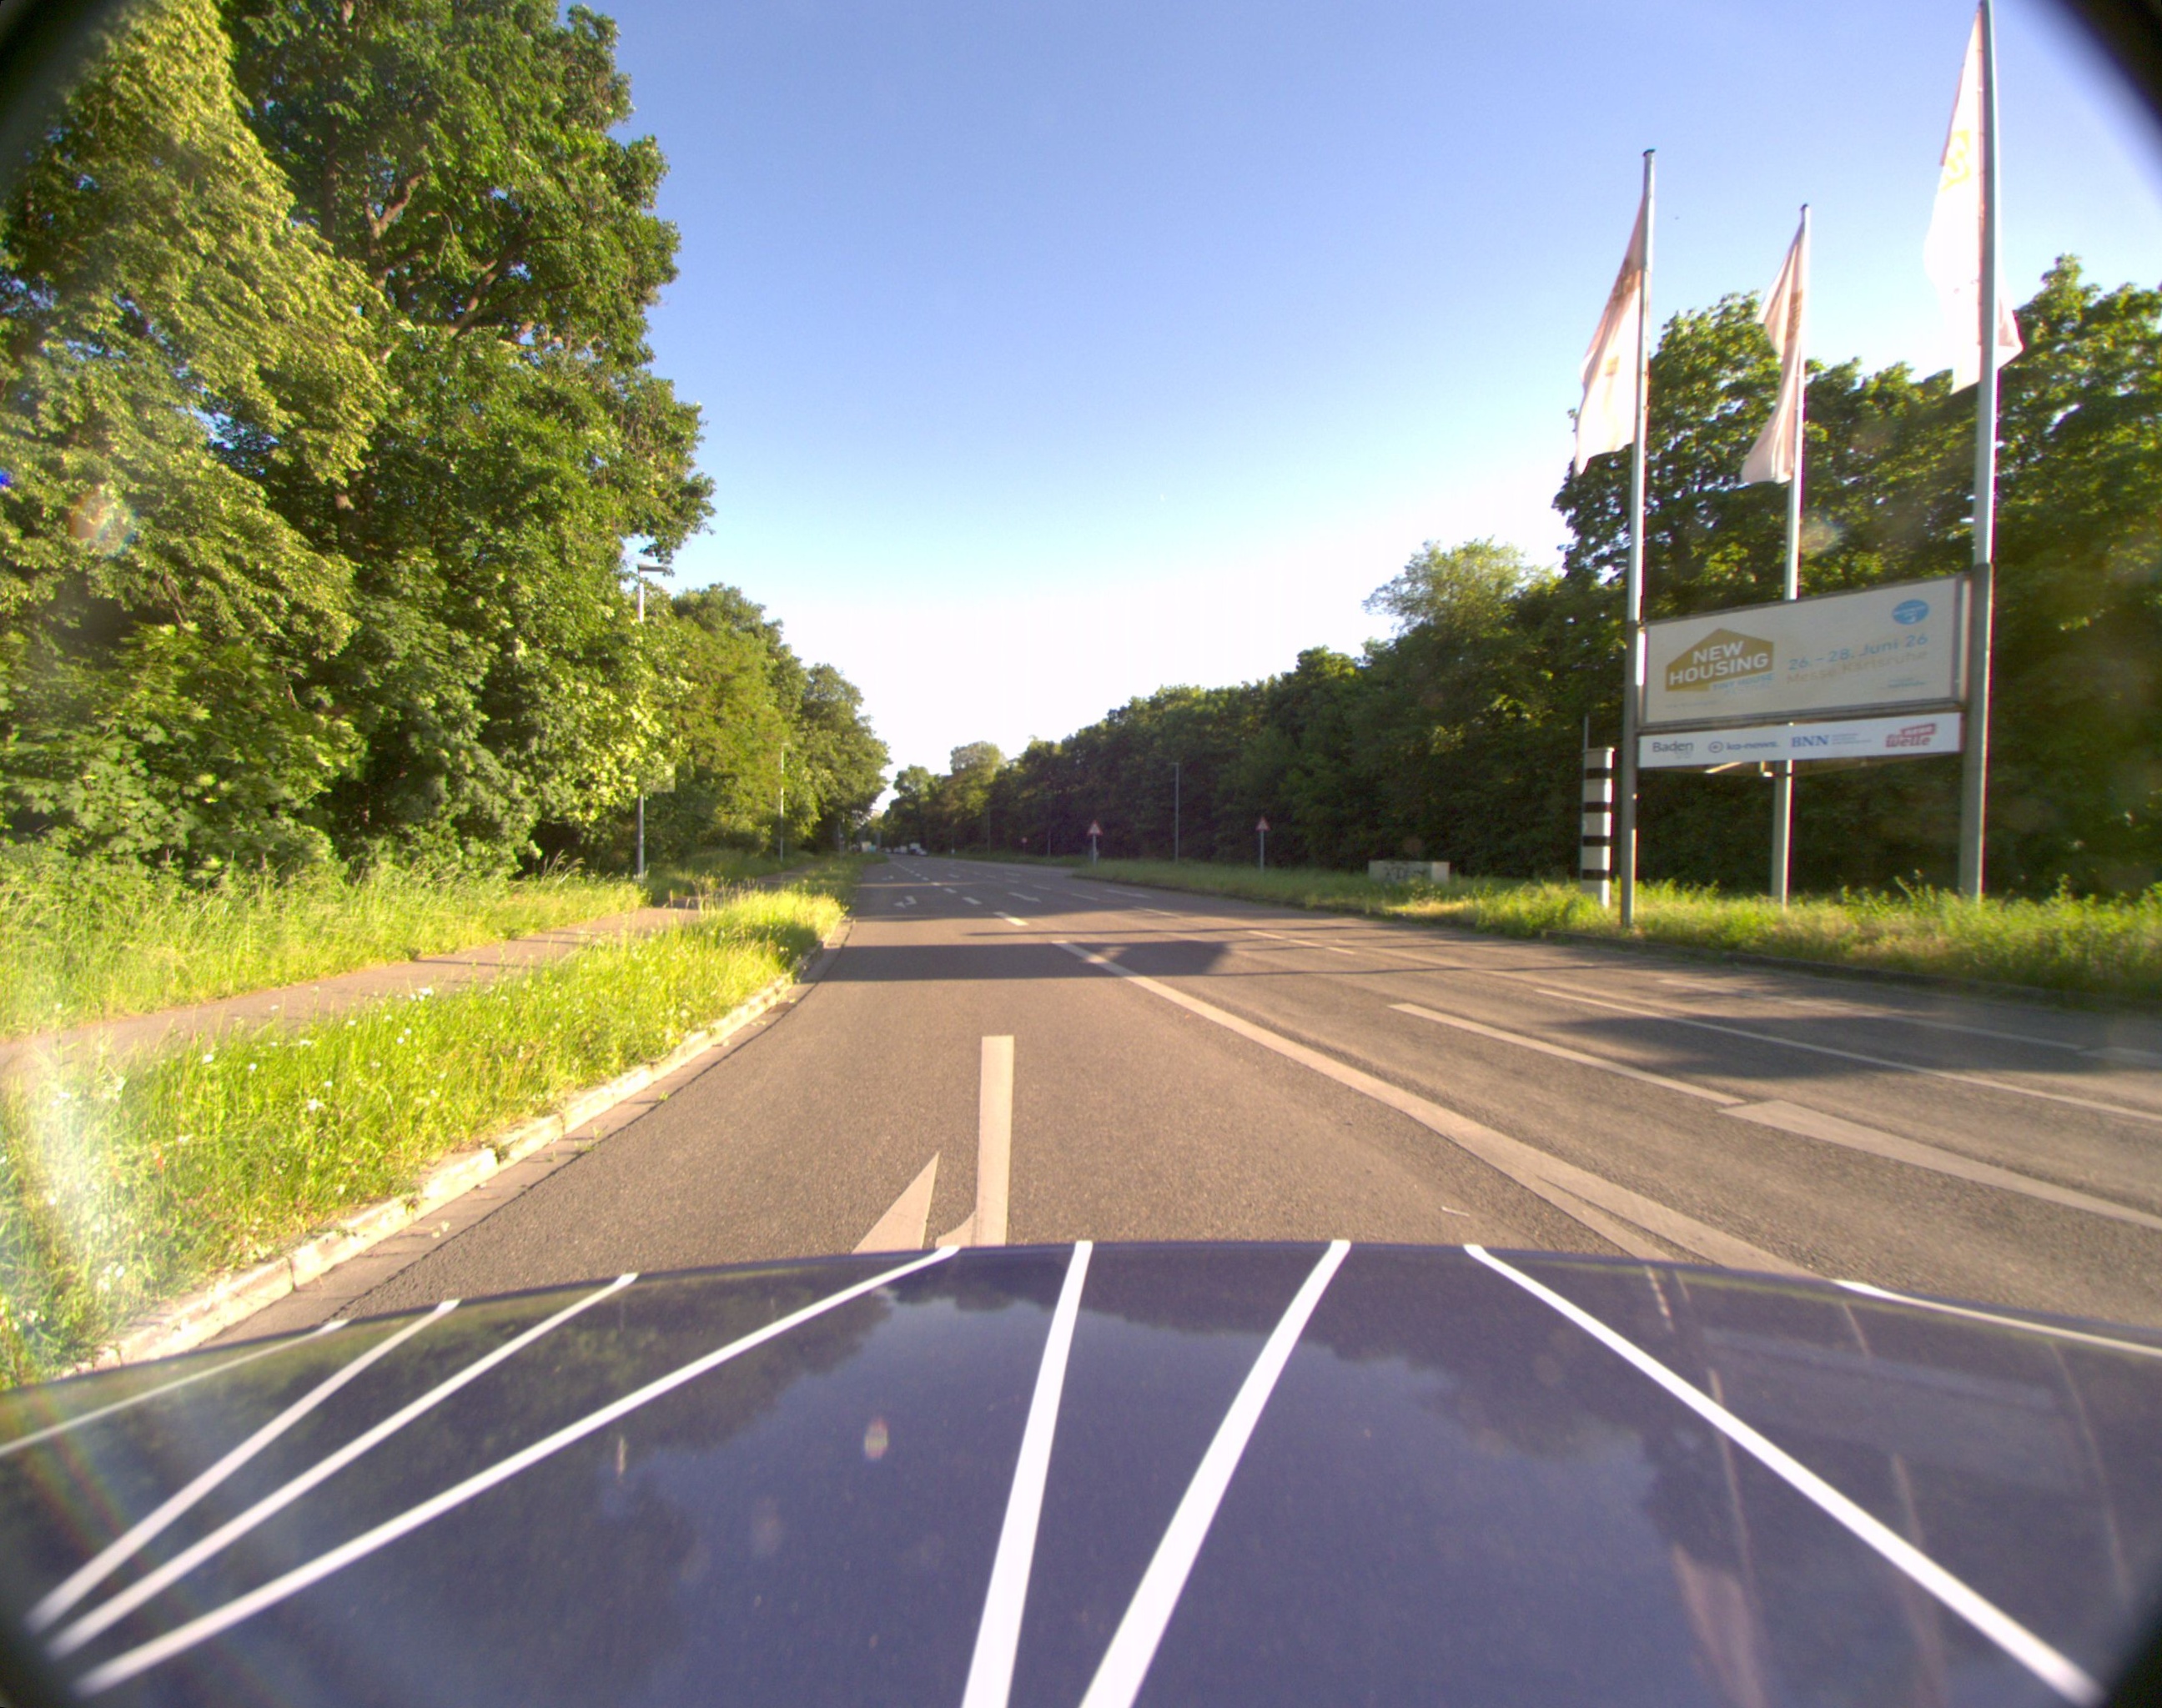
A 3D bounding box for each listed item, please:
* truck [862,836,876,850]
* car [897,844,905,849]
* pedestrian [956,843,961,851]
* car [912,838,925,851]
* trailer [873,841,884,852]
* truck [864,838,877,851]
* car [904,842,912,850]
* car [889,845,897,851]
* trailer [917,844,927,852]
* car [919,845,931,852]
[{"bbox_3d":[-50.927,-2.755,182.349,2.710,3.219,7.115,2,1,-19],"label":"truck"},{"bbox_3d":[-52.848,-2.284,222.769,1.809,1.496,3.905,2,1,-19],"label":"car"},{"bbox_3d":[-24.693,-1.487,153.139,0.714,1.556,0.825,1,1,-16],"label":"pedestrian"},{"bbox_3d":[-38.727,-2.237,180.793,2.464,2.831,4.790,2,1,-19],"label":"car"},{"bbox_3d":[-41.831,-1.568,156.839,1.872,2.166,4.121,-1,2,-19],"label":"trailer"},{"bbox_3d":[-48.123,-2.123,173.329,2.393,2.856,5.588,-2,2,-19],"label":"truck"},{"bbox_3d":[-48.162,-2.317,211.120,1.694,2.089,4.624,2,1,-19],"label":"car"},{"bbox_3d":[-52.007,-1.633,210.032,1.836,1.447,4.472,0,1,-20],"label":"car"},{"bbox_3d":[-35.377,-1.405,168.970,1.809,1.719,3.641,2,1,-19],"label":"trailer"},{"bbox_3d":[-33.732,-1.207,164.242,1.918,1.455,4.004,2,1,-19],"label":"car"}]
